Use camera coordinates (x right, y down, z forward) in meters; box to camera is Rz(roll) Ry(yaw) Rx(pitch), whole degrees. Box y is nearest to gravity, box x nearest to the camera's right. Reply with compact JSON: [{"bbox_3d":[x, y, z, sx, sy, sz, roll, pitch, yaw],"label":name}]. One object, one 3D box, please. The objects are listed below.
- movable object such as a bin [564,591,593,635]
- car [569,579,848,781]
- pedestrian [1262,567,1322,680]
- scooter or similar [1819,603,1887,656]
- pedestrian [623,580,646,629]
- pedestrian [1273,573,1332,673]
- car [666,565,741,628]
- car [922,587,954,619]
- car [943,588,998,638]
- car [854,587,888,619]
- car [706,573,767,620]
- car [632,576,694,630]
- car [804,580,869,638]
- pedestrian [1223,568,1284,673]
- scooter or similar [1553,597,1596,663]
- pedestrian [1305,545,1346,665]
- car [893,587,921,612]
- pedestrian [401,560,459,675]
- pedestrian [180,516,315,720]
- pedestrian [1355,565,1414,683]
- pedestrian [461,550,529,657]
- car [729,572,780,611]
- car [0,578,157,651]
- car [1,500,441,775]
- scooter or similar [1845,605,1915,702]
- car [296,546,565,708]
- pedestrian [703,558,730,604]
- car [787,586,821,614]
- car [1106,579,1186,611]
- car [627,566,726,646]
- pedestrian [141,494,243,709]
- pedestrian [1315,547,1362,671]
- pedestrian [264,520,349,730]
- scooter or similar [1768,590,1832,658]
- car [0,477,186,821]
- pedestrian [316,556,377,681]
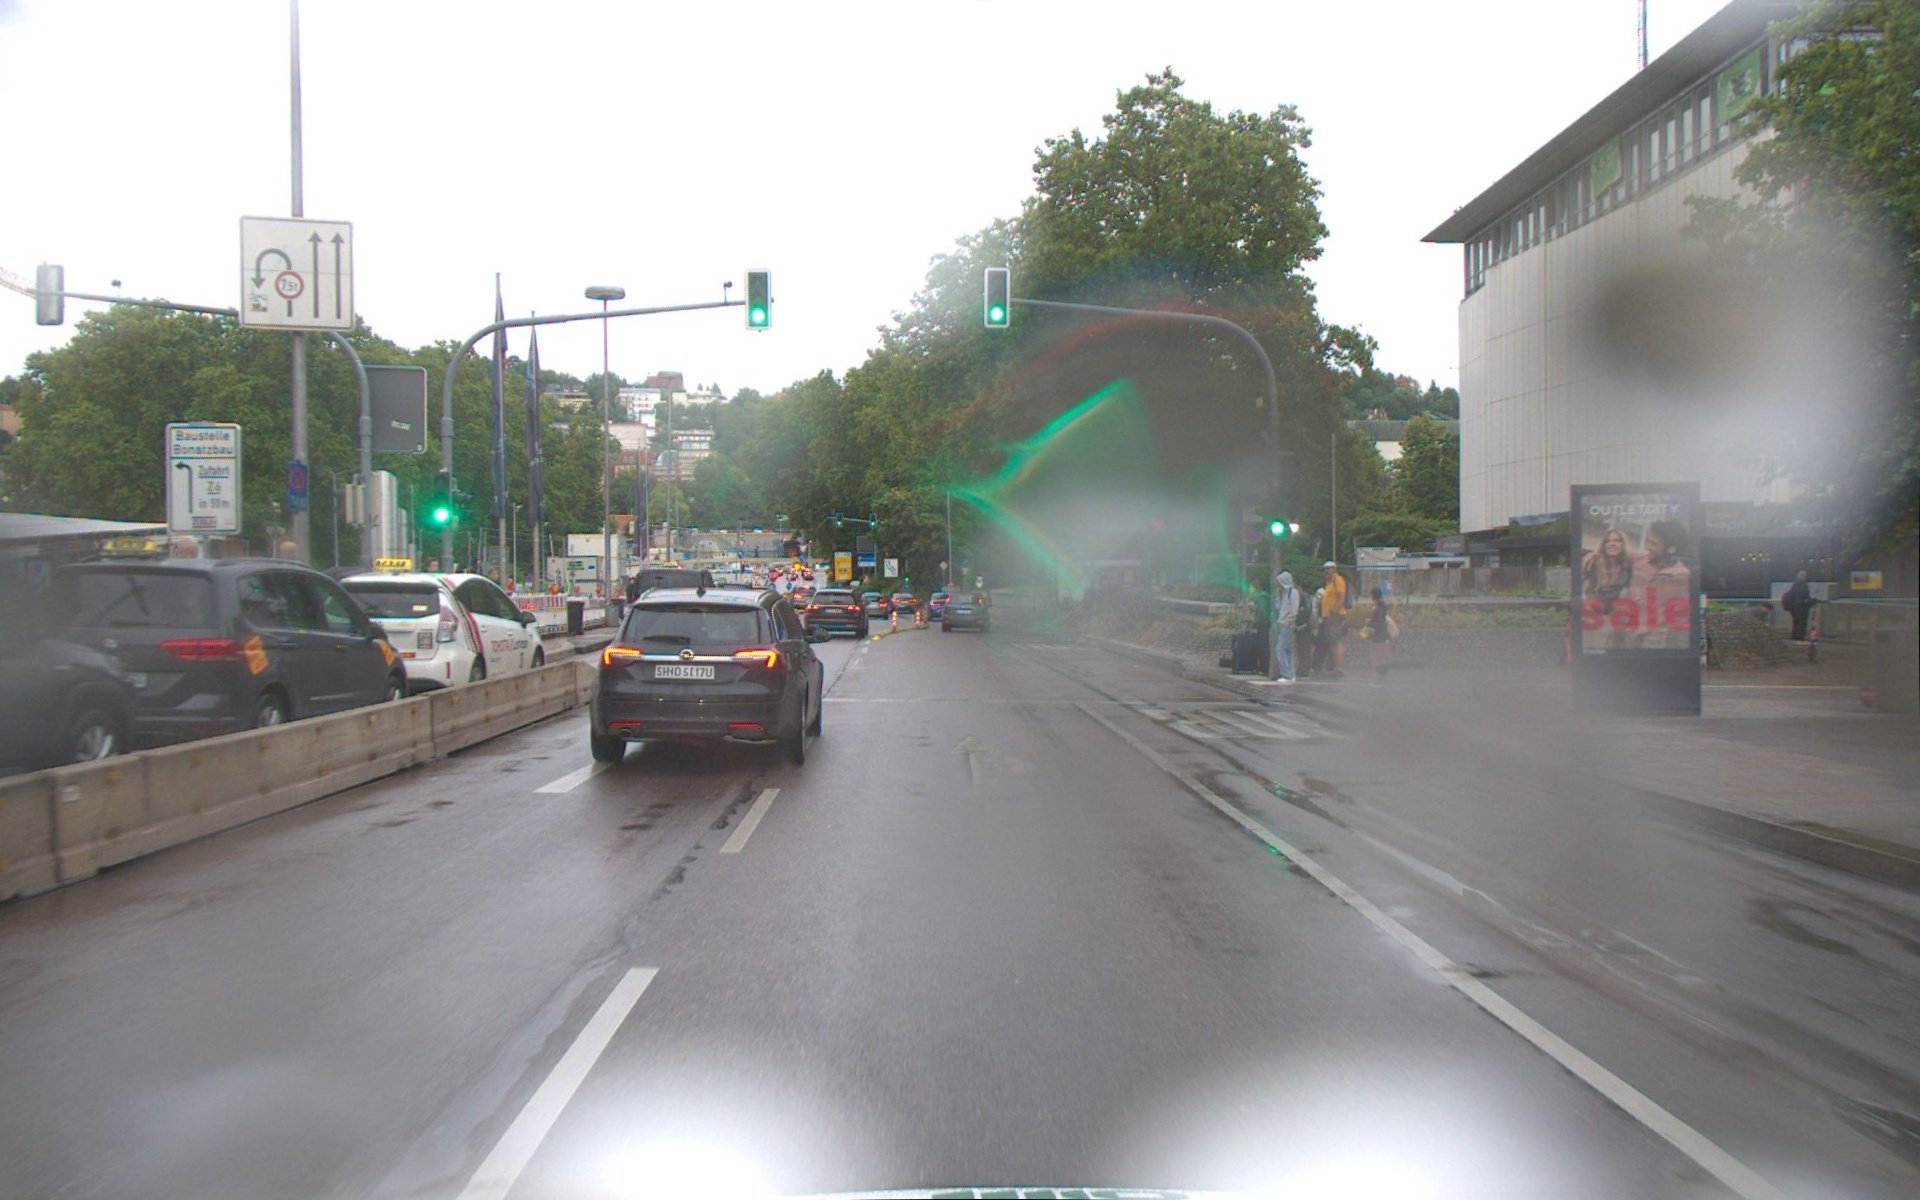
[{"bbox_3d":[-10.471,0.352,45.379,0.657,1.182,0.766,2,0,-7],"label":"movable object such as a bin"},{"bbox_3d":[-2.075,0.594,15.001,1.839,1.534,4.851,0,0,-1],"label":"car"},{"bbox_3d":[5.489,0.382,27.363,0.733,1.836,0.707,-1,0,-15],"label":"pedestrian"},{"bbox_3d":[18.342,0.596,34.000,0.467,1.053,1.312,-1,0,-12],"label":"scooter or similar"},{"bbox_3d":[-11.993,0.167,60.989,0.621,1.784,0.822,1,0,2],"label":"pedestrian"},{"bbox_3d":[5.974,0.398,28.878,0.857,1.720,0.758,-1,0,-1],"label":"pedestrian"},{"bbox_3d":[-7.502,-0.096,48.740,1.788,1.726,4.770,1,0,-4],"label":"car"},{"bbox_3d":[-1.138,0.159,85.381,1.640,1.609,3.239,1,0,-1],"label":"car"},{"bbox_3d":[0.355,0.470,60.537,1.814,1.747,3.998,1,0,-2],"label":"car"},{"bbox_3d":[-5.050,0.174,94.256,1.866,1.747,3.998,1,0,-2],"label":"car"},{"bbox_3d":[-7.742,-0.119,57.539,1.788,1.537,4.487,1,0,-4],"label":"car"},{"bbox_3d":[-11.799,0.127,66.083,1.955,2.049,5.364,1,0,-5],"label":"car"},{"bbox_3d":[-3.774,0.251,51.041,1.793,1.715,4.132,0,0,-2],"label":"car"},{"bbox_3d":[5.355,0.367,30.231,0.773,1.871,0.946,-1,0,-15],"label":"pedestrian"},{"bbox_3d":[11.824,0.563,31.847,0.345,1.238,1.158,1,0,-2],"label":"scooter or similar"},{"bbox_3d":[6.765,0.094,30.597,0.693,2.183,0.722,-1,0,11],"label":"pedestrian"},{"bbox_3d":[-3.582,-0.047,111.109,1.603,1.653,3.791,1,0,-5],"label":"car"},{"bbox_3d":[-8.986,0.284,28.077,0.815,1.919,0.690,-1,1,-10],"label":"pedestrian"},{"bbox_3d":[-7.419,0.174,17.247,0.820,2.049,1.024,0,0,37],"label":"pedestrian"},{"bbox_3d":[6.748,0.374,26.327,0.533,1.836,0.751,-1,0,-28],"label":"pedestrian"},{"bbox_3d":[-8.490,0.056,30.214,0.983,1.919,0.683,0,0,22],"label":"pedestrian"},{"bbox_3d":[-9.060,-0.366,73.126,1.954,1.595,4.871,-2,0,-4],"label":"car"},{"bbox_3d":[-19.537,0.301,36.209,1.953,1.493,4.000,1,0,0],"label":"car"},{"bbox_3d":[-5.959,0.249,14.033,1.678,1.925,4.609,-1,0,-1],"label":"car"},{"bbox_3d":[12.219,0.694,21.982,0.317,1.258,1.099,1,0,1],"label":"scooter or similar"},{"bbox_3d":[-6.224,0.273,20.034,1.750,1.715,4.666,-1,0,0],"label":"car"},{"bbox_3d":[-10.984,-0.852,74.658,1.002,2.049,0.837,0,0,10],"label":"pedestrian"},{"bbox_3d":[-10.714,-0.018,113.275,1.957,1.859,3.990,1,0,-10],"label":"car"},{"bbox_3d":[9.185,-0.235,81.818,3.550,1.532,1.726,1,0,39],"label":"car"},{"bbox_3d":[-7.093,0.154,41.809,1.954,1.877,5.058,1,0,-4],"label":"car"},{"bbox_3d":[-7.499,0.010,16.185,0.609,2.049,0.836,0,0,-1],"label":"pedestrian"},{"bbox_3d":[6.763,0.152,29.576,0.545,2.183,0.665,-1,0,-15],"label":"pedestrian"},{"bbox_3d":[-6.537,0.236,16.586,0.517,2.049,0.890,0,0,-3],"label":"pedestrian"},{"bbox_3d":[17.104,0.474,33.690,0.402,1.355,1.312,1,0,-12],"label":"scooter or similar"},{"bbox_3d":[-6.055,0.272,8.474,1.953,1.818,4.846,-1,0,-1],"label":"car"},{"bbox_3d":[-8.777,0.257,23.675,0.571,1.765,0.756,-1,0,-1],"label":"pedestrian"}]
